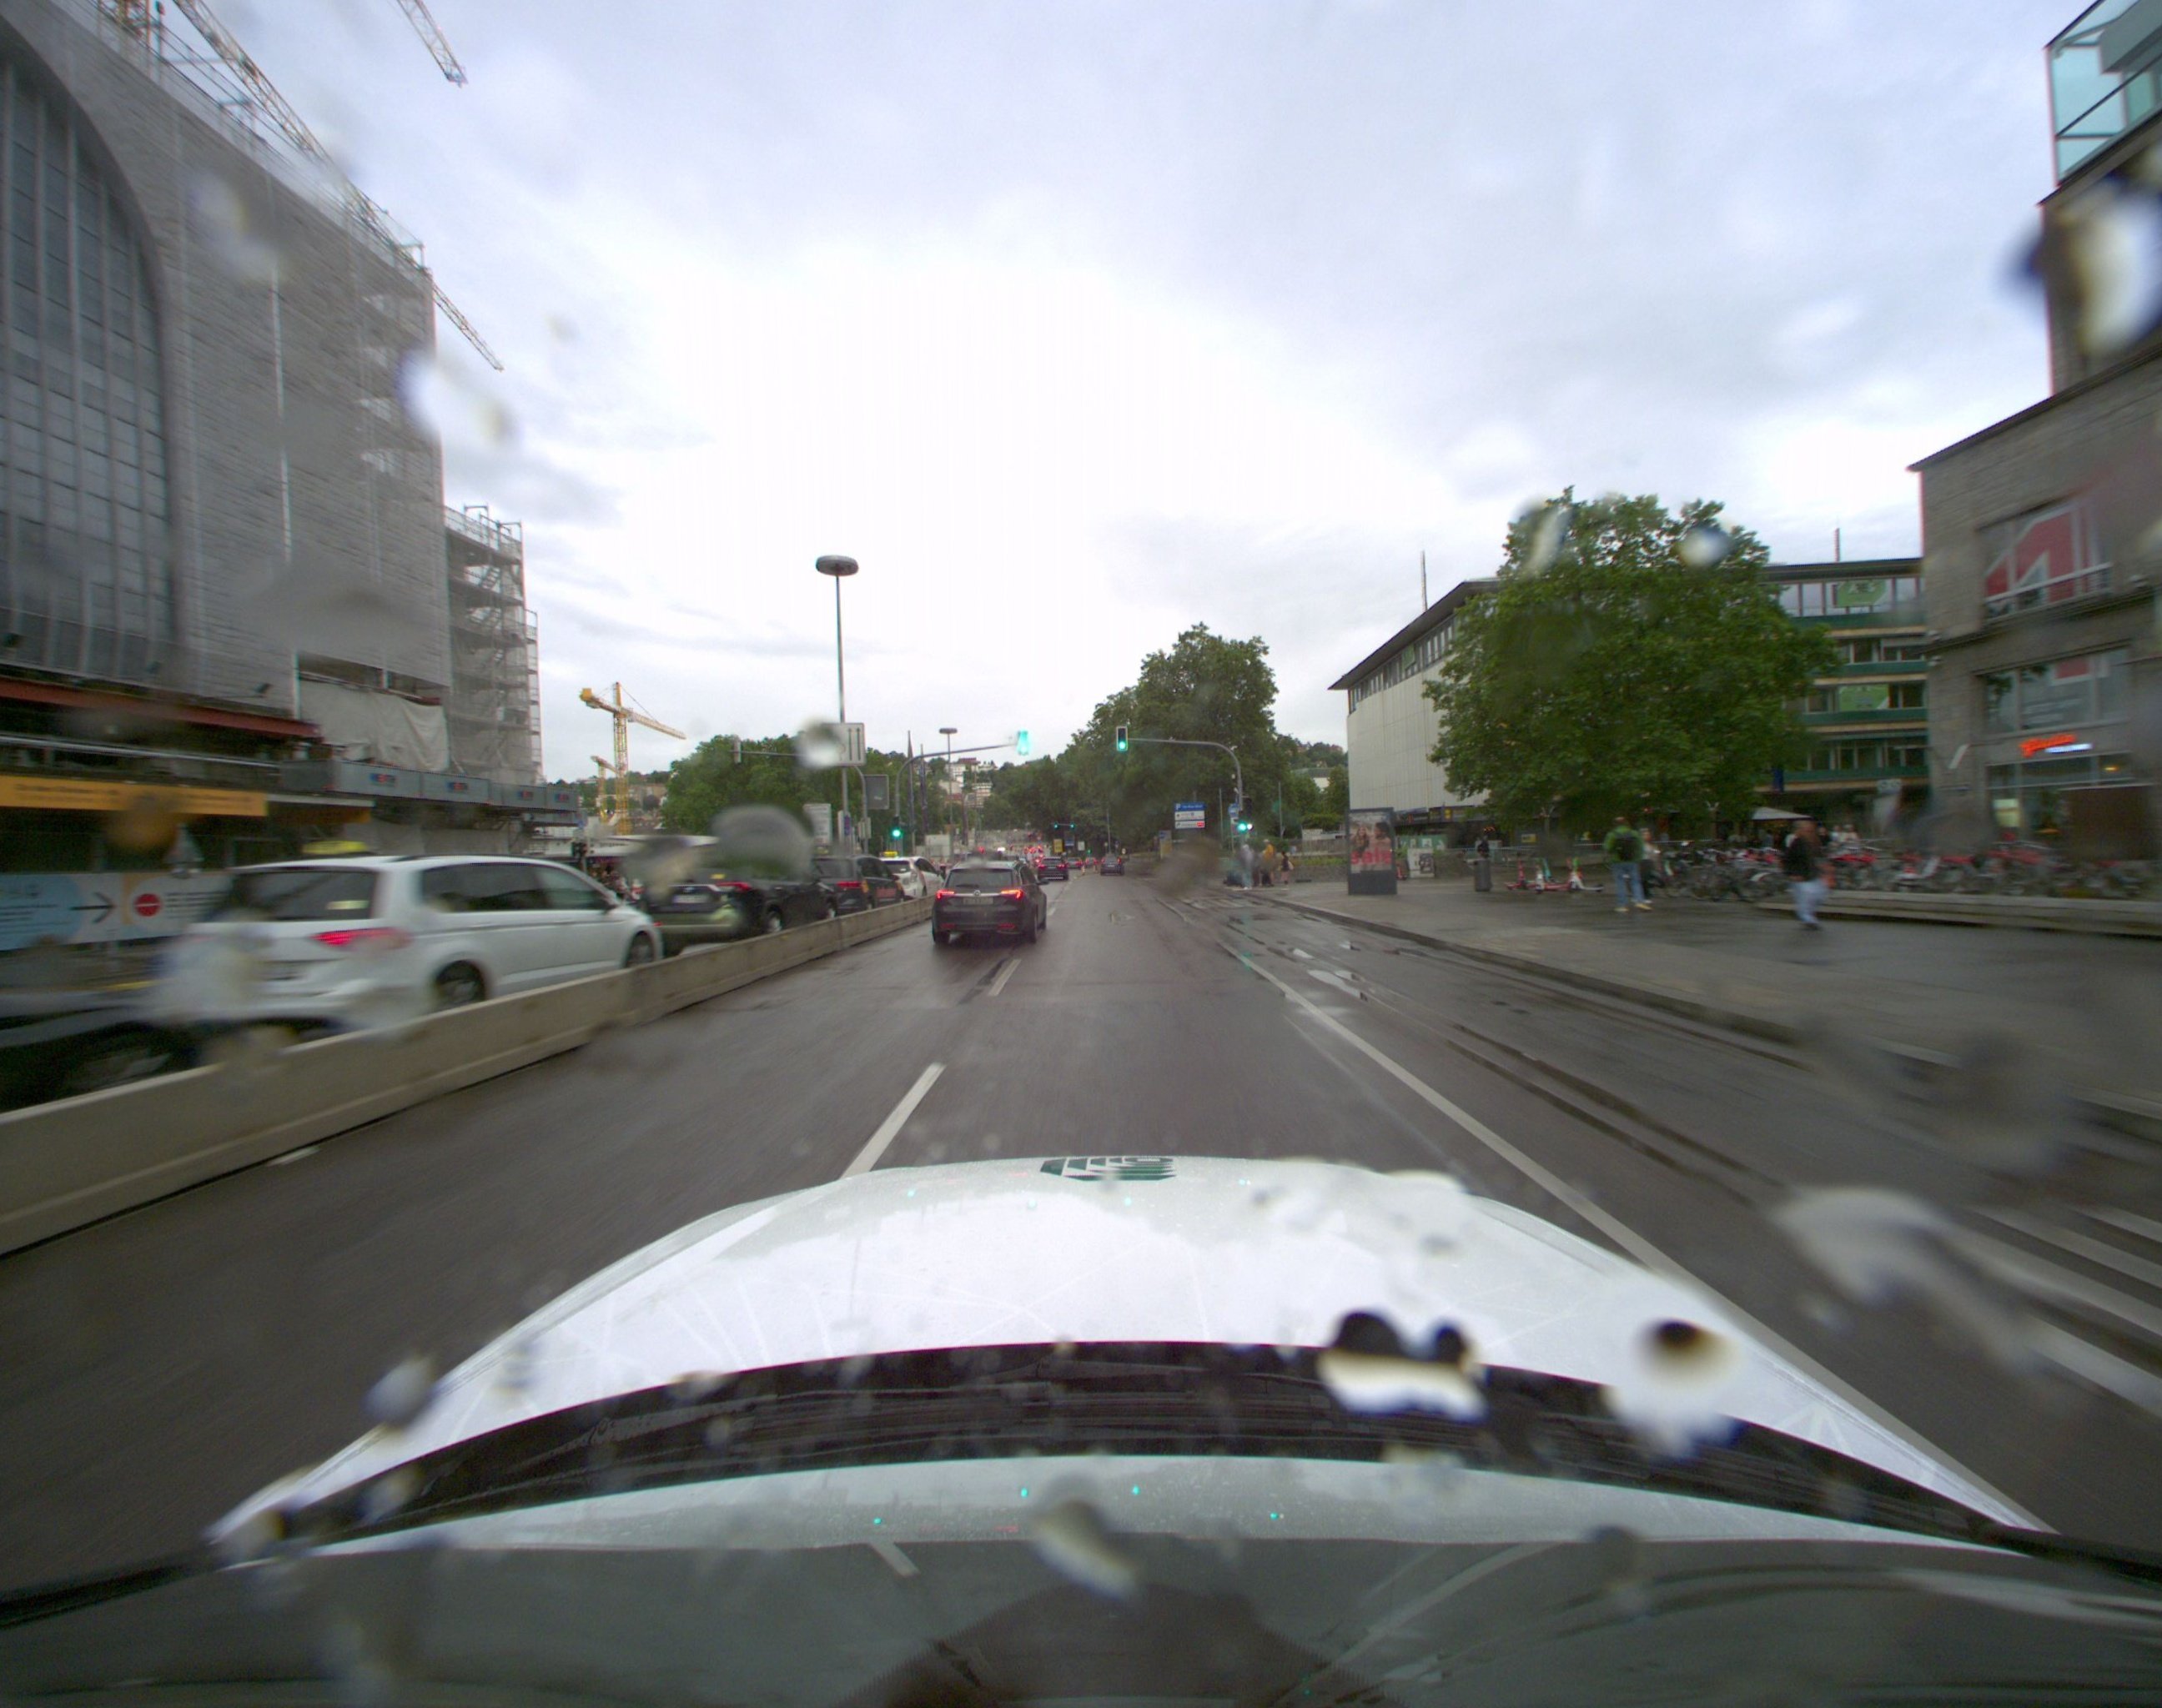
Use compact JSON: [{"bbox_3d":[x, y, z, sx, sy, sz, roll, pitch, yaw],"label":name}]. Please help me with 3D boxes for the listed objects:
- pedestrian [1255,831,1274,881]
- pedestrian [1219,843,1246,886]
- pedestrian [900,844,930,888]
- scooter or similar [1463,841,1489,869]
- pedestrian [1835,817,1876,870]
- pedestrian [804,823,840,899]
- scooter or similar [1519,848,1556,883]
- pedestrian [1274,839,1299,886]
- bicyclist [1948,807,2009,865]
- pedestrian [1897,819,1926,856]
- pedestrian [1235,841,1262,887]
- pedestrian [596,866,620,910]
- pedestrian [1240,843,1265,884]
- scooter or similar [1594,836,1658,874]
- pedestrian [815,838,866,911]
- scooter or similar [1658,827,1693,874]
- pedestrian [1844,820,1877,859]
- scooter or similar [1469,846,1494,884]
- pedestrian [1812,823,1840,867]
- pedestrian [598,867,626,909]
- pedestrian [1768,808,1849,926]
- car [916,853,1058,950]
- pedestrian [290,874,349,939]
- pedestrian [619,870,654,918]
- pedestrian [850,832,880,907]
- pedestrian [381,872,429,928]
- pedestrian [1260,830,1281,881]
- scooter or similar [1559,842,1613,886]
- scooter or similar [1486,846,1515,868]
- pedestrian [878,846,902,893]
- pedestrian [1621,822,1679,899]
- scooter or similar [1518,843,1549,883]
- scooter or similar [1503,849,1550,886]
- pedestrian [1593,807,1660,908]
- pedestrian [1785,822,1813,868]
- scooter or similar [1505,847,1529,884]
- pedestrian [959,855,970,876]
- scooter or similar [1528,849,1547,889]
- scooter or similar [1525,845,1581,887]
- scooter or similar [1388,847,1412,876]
[{"bbox_3d":[8.128,0.074,36.083,0.703,2.145,0.724,-3,0,12],"label":"pedestrian"},{"bbox_3d":[6.650,0.465,35.727,0.787,1.838,0.946,-2,0,-13],"label":"pedestrian"},{"bbox_3d":[-7.364,0.543,36.162,0.995,1.886,0.687,-2,0,24],"label":"pedestrian"},{"bbox_3d":[18.796,0.060,38.733,0.409,1.332,1.311,-1,-1,-10],"label":"scooter or similar"},{"bbox_3d":[25.094,-0.322,26.409,0.785,1.674,0.894,-2,-1,34],"label":"pedestrian"},{"bbox_3d":[-7.005,0.183,22.037,0.619,2.013,0.836,-2,0,1],"label":"pedestrian"},{"bbox_3d":[15.950,0.406,28.476,1.084,1.217,0.479,-1,-1,32],"label":"scooter or similar"},{"bbox_3d":[8.013,0.320,31.744,0.542,1.804,0.751,-2,0,-26],"label":"pedestrian"},{"bbox_3d":[25.105,-0.501,22.807,0.647,1.554,0.908,-3,-1,4],"label":"bicyclist"},{"bbox_3d":[37.824,-0.760,37.081,0.772,1.667,0.706,-1,-1,-27],"label":"pedestrian"},{"bbox_3d":[6.742,0.385,32.826,0.746,1.804,0.706,-2,0,-13],"label":"pedestrian"},{"bbox_3d":[-20.596,1.482,35.463,0.695,1.841,0.528,-2,0,0],"label":"pedestrian"},{"bbox_3d":[7.228,0.396,34.327,0.872,1.691,0.758,-2,0,2],"label":"pedestrian"},{"bbox_3d":[18.610,0.041,27.838,0.622,1.260,1.737,-1,-1,-25],"label":"scooter or similar"},{"bbox_3d":[-6.830,0.564,23.159,0.825,2.013,1.034,-2,0,39],"label":"pedestrian"},{"bbox_3d":[19.001,-0.113,26.052,0.615,1.428,1.720,-1,-1,27],"label":"scooter or similar"},{"bbox_3d":[41.386,-0.751,43.260,0.985,2.014,0.847,-1,-1,-15],"label":"pedestrian"},{"bbox_3d":[13.372,0.357,27.199,0.323,1.237,1.100,-1,-1,3],"label":"scooter or similar"},{"bbox_3d":[26.464,-0.331,28.928,0.663,1.523,0.787,-3,0,41],"label":"pedestrian"},{"bbox_3d":[-20.822,1.492,36.170,0.695,1.841,0.878,-1,-1,0],"label":"pedestrian"},{"bbox_3d":[10.310,0.184,11.562,0.646,1.619,0.503,-3,0,16],"label":"pedestrian"},{"bbox_3d":[-1.585,0.760,15.509,1.870,1.508,4.855,-2,0,3],"label":"car"},{"bbox_3d":[-22.803,1.560,24.403,0.815,1.841,0.937,-2,0,2],"label":"pedestrian"},{"bbox_3d":[-15.942,1.423,29.210,0.710,1.664,0.837,-2,0,2],"label":"pedestrian"},{"bbox_3d":[-6.006,0.415,22.645,0.526,2.013,0.890,-2,0,0],"label":"pedestrian"},{"bbox_3d":[-23.174,1.571,27.935,0.724,1.841,0.994,-2,0,2],"label":"pedestrian"},{"bbox_3d":[8.123,0.080,34.979,0.554,2.146,0.665,-2,0,-13],"label":"pedestrian"},{"bbox_3d":[14.926,0.302,24.078,1.304,1.256,0.590,-1,-1,-12],"label":"scooter or similar"},{"bbox_3d":[20.068,0.153,38.998,0.476,1.035,1.311,-3,0,-10],"label":"scooter or similar"},{"bbox_3d":[-7.976,0.635,34.039,0.829,1.886,0.689,-2,1,-8],"label":"pedestrian"},{"bbox_3d":[12.731,0.142,18.245,0.779,1.641,0.792,-3,0,16],"label":"pedestrian"},{"bbox_3d":[14.793,0.302,26.633,0.367,1.281,1.174,-1,-1,3],"label":"scooter or similar"},{"bbox_3d":[15.366,0.457,28.091,1.348,1.250,0.441,-1,-1,32],"label":"scooter or similar"},{"bbox_3d":[10.853,0.065,16.229,0.705,1.932,0.787,-2,0,-8],"label":"pedestrian"},{"bbox_3d":[25.882,-0.329,29.367,0.638,1.601,0.620,-5,-2,41],"label":"pedestrian"},{"bbox_3d":[14.308,0.377,26.756,0.304,1.207,0.958,-1,-1,3],"label":"scooter or similar"},{"bbox_3d":[-9.586,0.951,67.050,0.632,1.753,0.823,-1,-1,5],"label":"pedestrian"},{"bbox_3d":[13.411,0.430,23.917,0.433,1.129,1.374,1,0,28],"label":"scooter or similar"},{"bbox_3d":[14.520,0.370,25.066,0.573,1.231,1.353,0,-1,-44],"label":"scooter or similar"},{"bbox_3d":[14.526,0.338,37.058,0.372,1.259,1.311,-1,-1,-10],"label":"scooter or similar"}]
